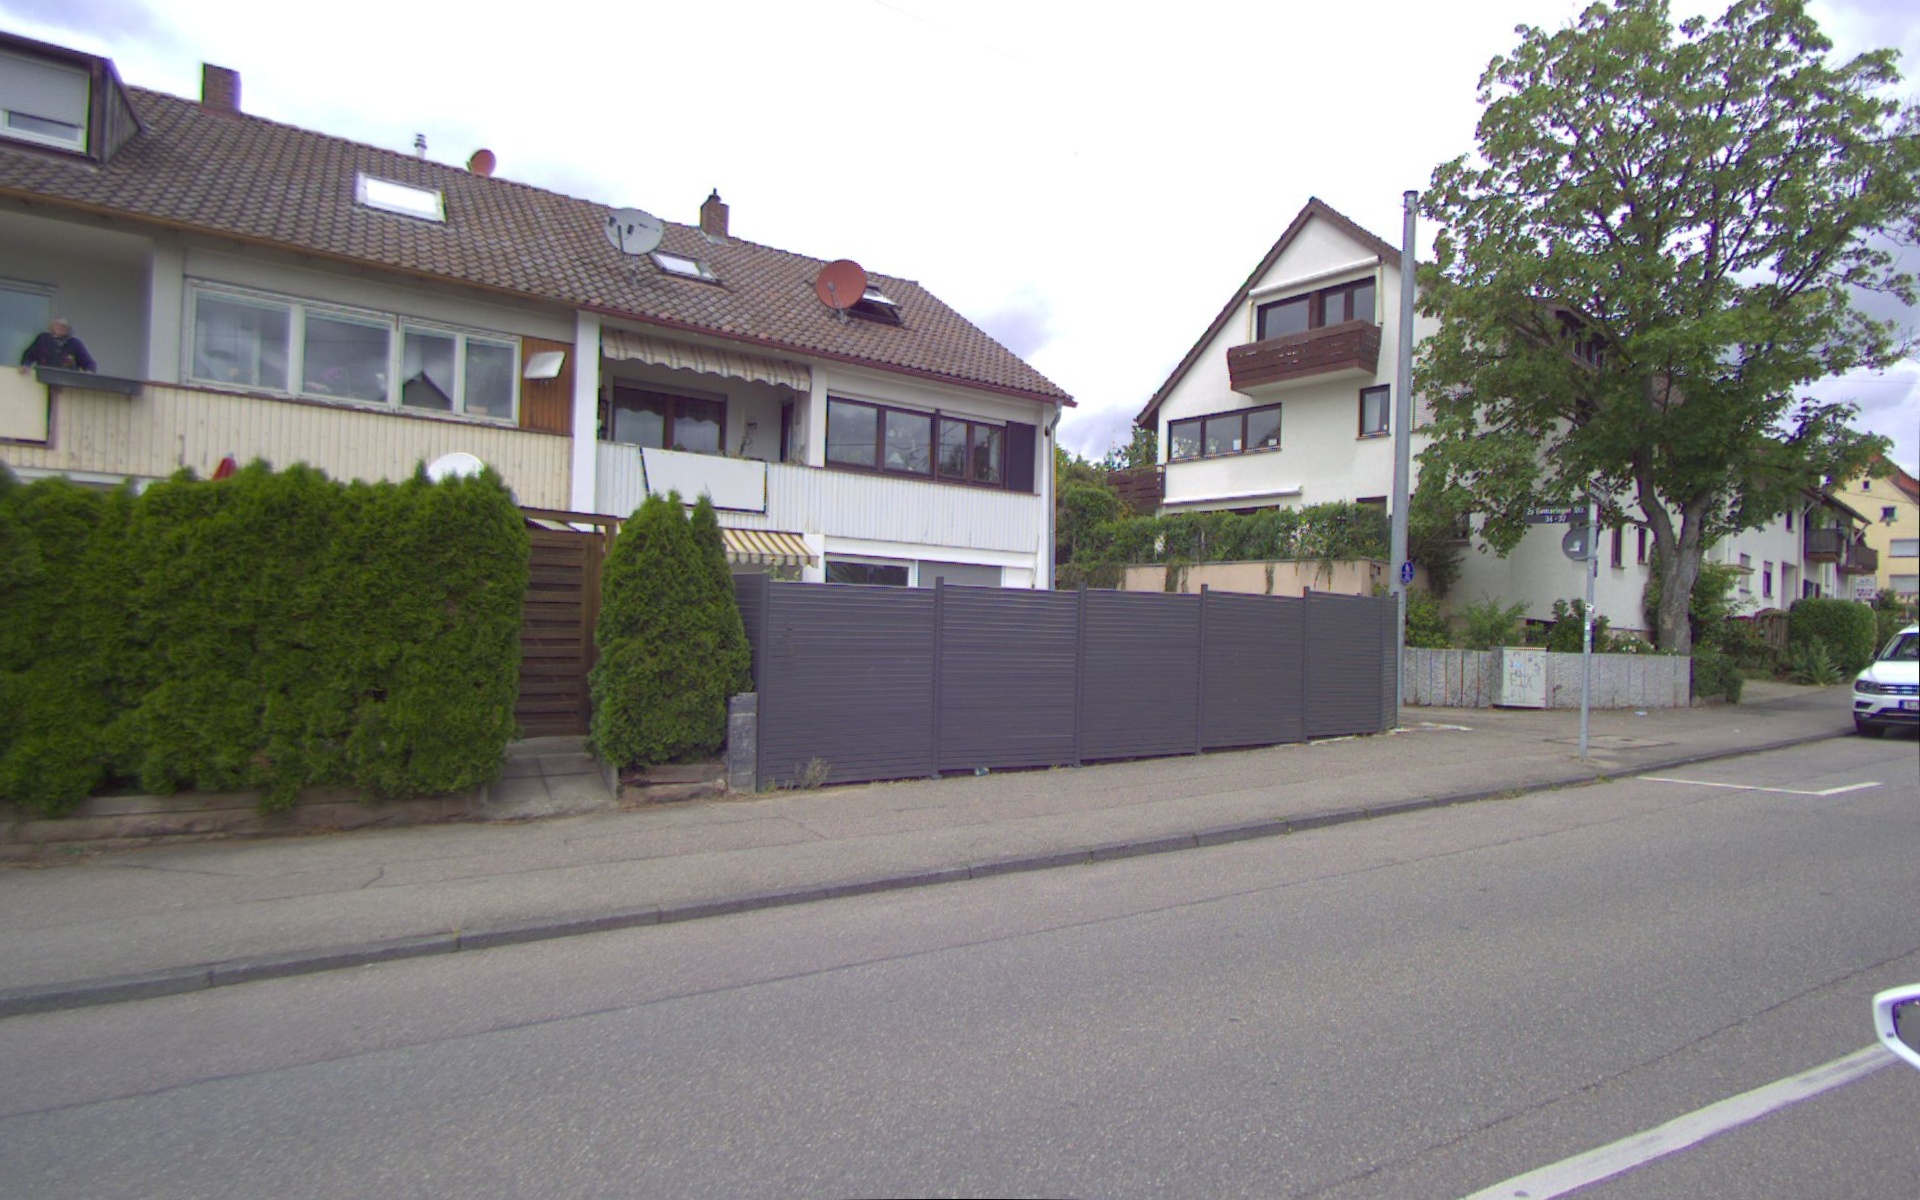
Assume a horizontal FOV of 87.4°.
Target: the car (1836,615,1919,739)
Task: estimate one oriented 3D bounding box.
[{"bbox_3d":[15.279,1.107,15.385,4.531,1.737,1.837,1,-2,-36],"label":"car"}]
